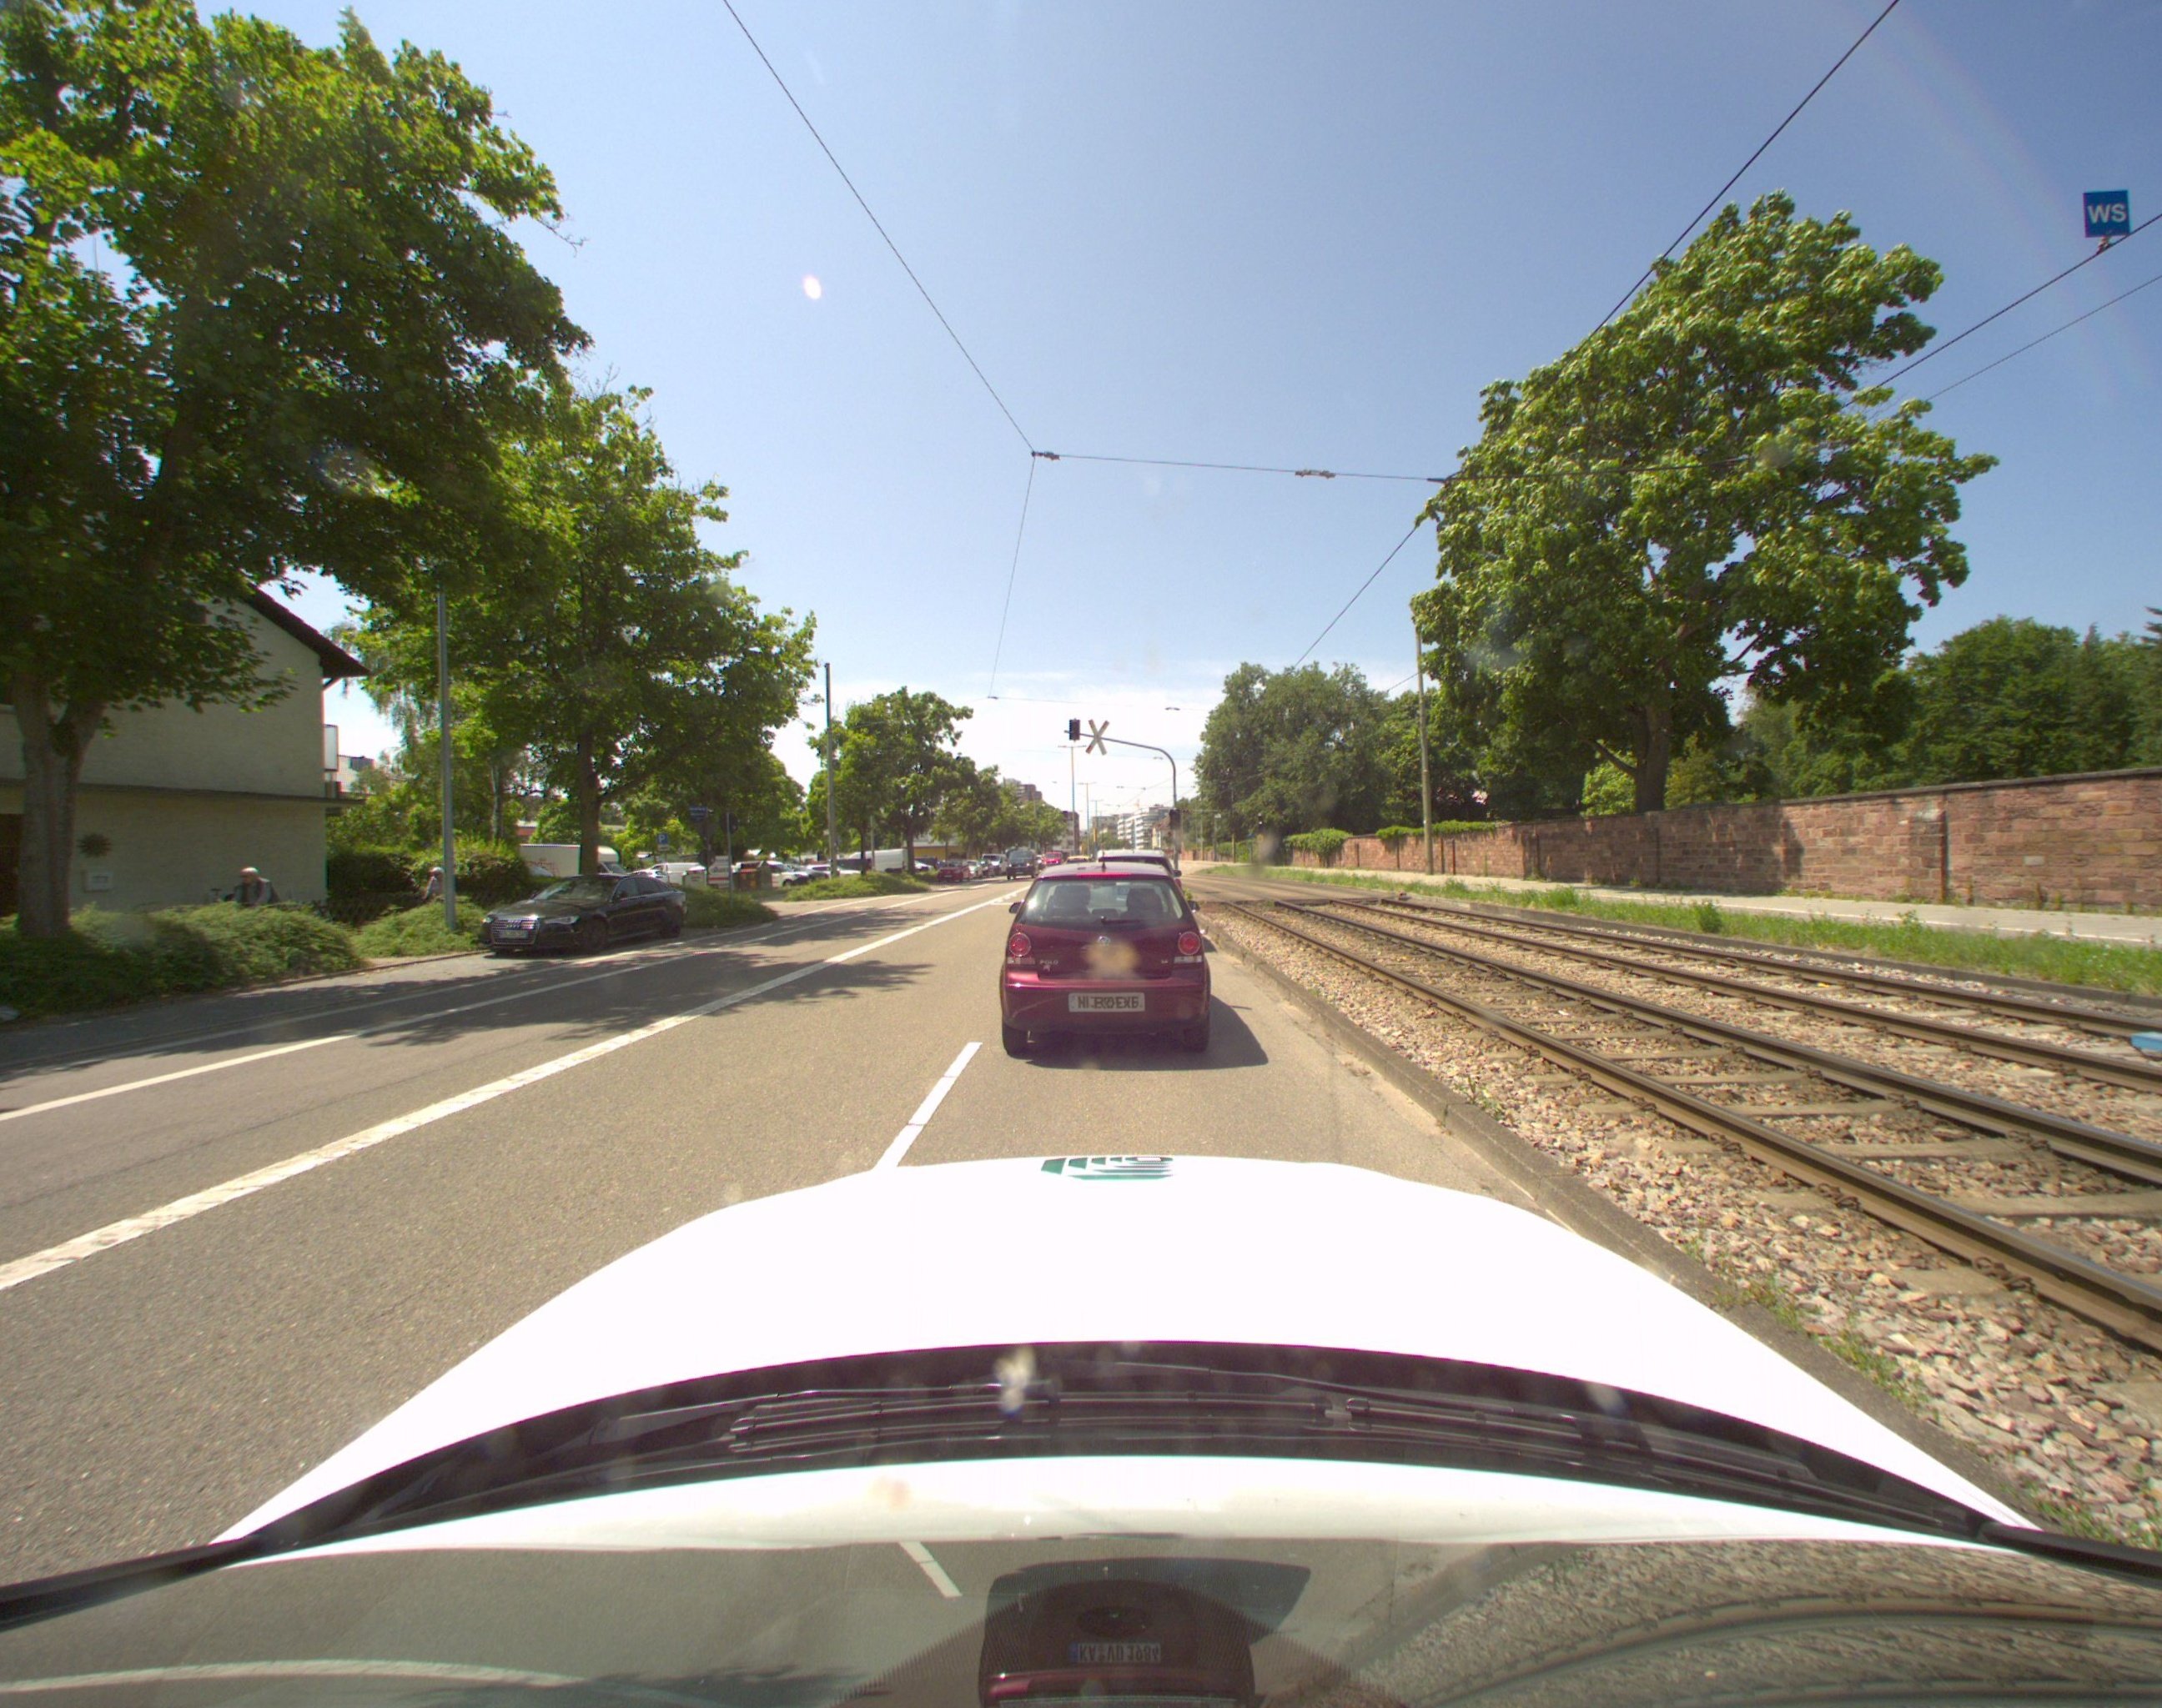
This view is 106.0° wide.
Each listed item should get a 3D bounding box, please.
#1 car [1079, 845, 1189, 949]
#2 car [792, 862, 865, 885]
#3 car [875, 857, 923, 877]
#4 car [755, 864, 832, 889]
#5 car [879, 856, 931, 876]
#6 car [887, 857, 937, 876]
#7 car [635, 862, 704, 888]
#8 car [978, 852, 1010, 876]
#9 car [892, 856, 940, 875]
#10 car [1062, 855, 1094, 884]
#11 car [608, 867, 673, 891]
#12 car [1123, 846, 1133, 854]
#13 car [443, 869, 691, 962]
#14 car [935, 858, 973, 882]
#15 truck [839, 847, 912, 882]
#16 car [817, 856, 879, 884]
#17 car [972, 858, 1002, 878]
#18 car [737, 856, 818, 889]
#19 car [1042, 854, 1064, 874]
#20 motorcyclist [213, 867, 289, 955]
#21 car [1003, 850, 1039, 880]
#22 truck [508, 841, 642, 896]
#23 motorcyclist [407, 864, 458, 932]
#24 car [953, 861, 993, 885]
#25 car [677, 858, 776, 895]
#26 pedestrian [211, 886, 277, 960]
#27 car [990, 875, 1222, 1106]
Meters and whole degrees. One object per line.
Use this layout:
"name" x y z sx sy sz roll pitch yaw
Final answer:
"car" 0.948 0.702 15.271 1.788 1.683 4.002 0 0 2
"car" -18.650 1.465 60.318 4.745 1.488 2.058 -2 0 0
"car" -17.785 1.240 79.636 4.195 1.765 1.857 -2 0 0
"car" -18.407 1.450 52.316 4.185 1.403 2.079 -2 0 -2
"car" -17.689 1.218 81.943 4.702 1.813 1.797 -2 0 0
"car" -17.436 1.309 84.151 4.702 1.813 1.797 -2 0 0
"car" -30.818 1.570 61.000 4.112 1.820 1.971 -1 0 1
"car" -7.508 0.839 71.058 1.854 1.937 4.811 2 0 4
"car" -17.509 1.241 86.659 4.702 1.813 1.797 -2 0 0
"car" -0.131 0.780 43.341 1.545 1.448 3.413 0 0 2
"car" -31.734 1.796 58.762 3.733 1.576 1.733 -1 0 1
"car" 11.356 -0.877 197.995 1.914 1.910 4.566 -2 0 -3
"car" -9.823 1.086 16.148 1.888 1.456 4.808 0 0 0
"car" -8.366 1.019 53.845 1.664 1.546 3.731 0 -1 4
"truck" -17.869 0.908 70.900 5.555 2.759 2.434 -2 0 3
"car" -18.011 1.229 63.021 4.195 1.995 1.857 -2 0 0
"car" -7.551 1.080 65.544 1.607 1.484 3.789 2 0 4
"car" -18.454 1.133 49.598 4.247 1.835 1.675 -2 0 4
"car" -2.776 0.998 82.398 1.892 1.926 4.820 -3 0 0
"motorcyclist" -14.895 1.003 14.632 0.584 1.503 0.726 1 0 3
"car" -4.034 0.731 55.773 1.911 1.910 4.573 -3 0 2
"truck" -31.640 0.869 51.033 6.954 3.227 2.150 -1 0 0
"motorcyclist" -14.754 0.983 18.530 0.584 1.503 0.663 1 0 3
"car" -7.983 1.374 60.463 1.710 1.427 4.779 -5 0 6
"car" -19.415 1.200 44.744 4.437 1.857 2.059 -2 0 -3
"pedestrian" -17.869 1.458 17.398 0.789 1.510 0.610 -2 0 8
"car" 0.233 1.004 7.677 1.603 1.498 4.002 0 0 2
